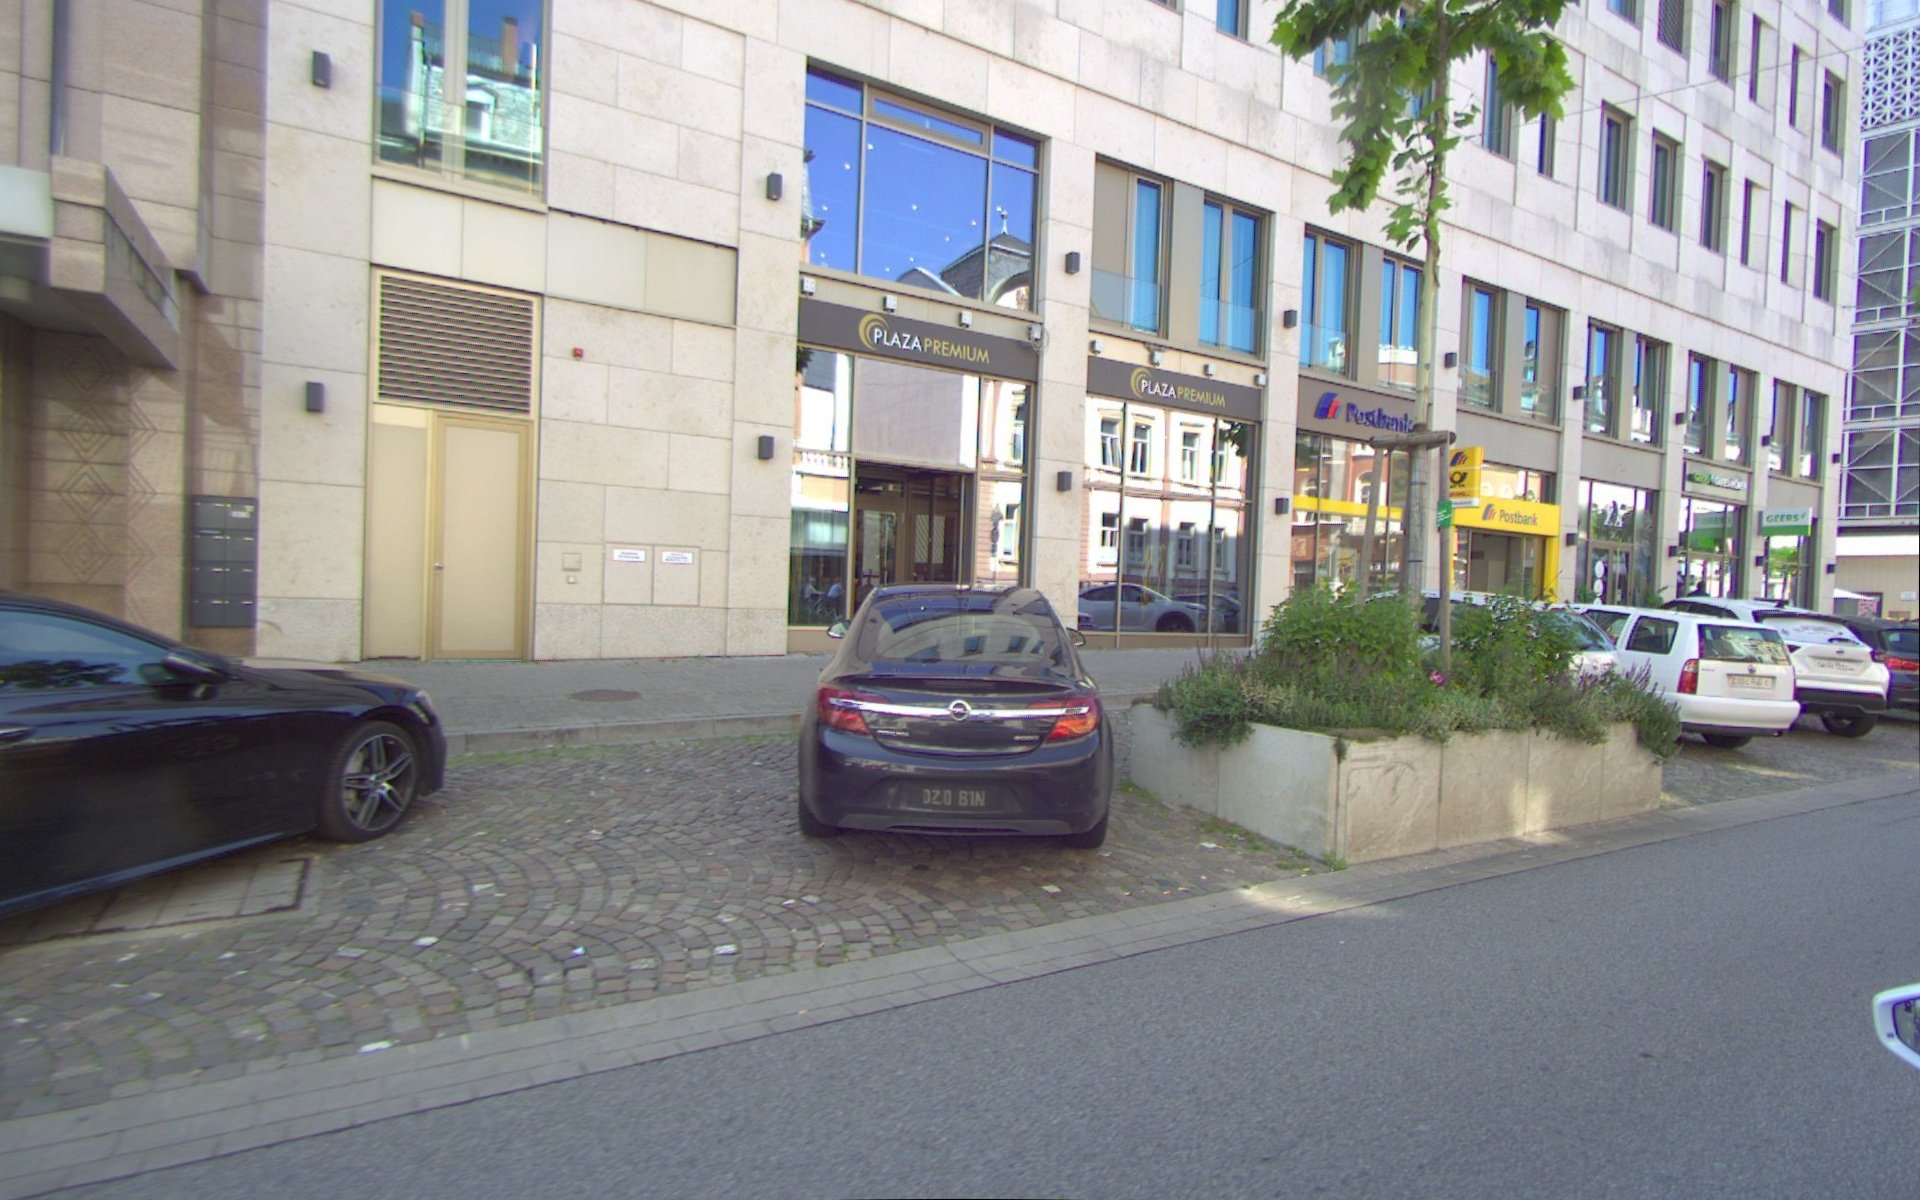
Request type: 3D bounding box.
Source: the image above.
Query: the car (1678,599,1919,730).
[{"bbox_3d":[13.429,0.901,15.446,1.751,1.469,4.319,3,4,3],"label":"car"}]

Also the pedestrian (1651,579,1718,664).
[{"bbox_3d":[16.928,0.496,23.470,0.834,1.904,0.834,2,5,-30],"label":"pedestrian"}]

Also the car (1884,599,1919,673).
[{"bbox_3d":[22.467,0.943,21.158,1.923,1.624,4.028,3,2,-7],"label":"car"}]

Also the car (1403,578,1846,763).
[{"bbox_3d":[7.697,0.681,12.327,1.830,1.452,4.491,3,5,-11],"label":"car"}]

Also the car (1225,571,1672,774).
[{"bbox_3d":[5.056,0.638,10.978,1.800,1.548,3.966,3,3,-31],"label":"car"}]

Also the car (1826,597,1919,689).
[{"bbox_3d":[19.697,0.976,19.213,2.072,1.659,4.148,2,4,-22],"label":"car"}]

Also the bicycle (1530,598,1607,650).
[{"bbox_3d":[13.948,0.552,23.006,2.136,1.122,0.493,1,3,-31],"label":"bicycle"}]

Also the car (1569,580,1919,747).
[{"bbox_3d":[10.617,0.721,14.000,1.783,1.615,4.037,4,5,2],"label":"car"}]

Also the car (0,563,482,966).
[{"bbox_3d":[-4.298,0.591,4.123,1.697,1.466,4.623,1,2,13],"label":"car"}]

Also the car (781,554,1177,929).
[{"bbox_3d":[0.091,0.570,6.966,1.757,1.525,4.530,4,4,0],"label":"car"}]
